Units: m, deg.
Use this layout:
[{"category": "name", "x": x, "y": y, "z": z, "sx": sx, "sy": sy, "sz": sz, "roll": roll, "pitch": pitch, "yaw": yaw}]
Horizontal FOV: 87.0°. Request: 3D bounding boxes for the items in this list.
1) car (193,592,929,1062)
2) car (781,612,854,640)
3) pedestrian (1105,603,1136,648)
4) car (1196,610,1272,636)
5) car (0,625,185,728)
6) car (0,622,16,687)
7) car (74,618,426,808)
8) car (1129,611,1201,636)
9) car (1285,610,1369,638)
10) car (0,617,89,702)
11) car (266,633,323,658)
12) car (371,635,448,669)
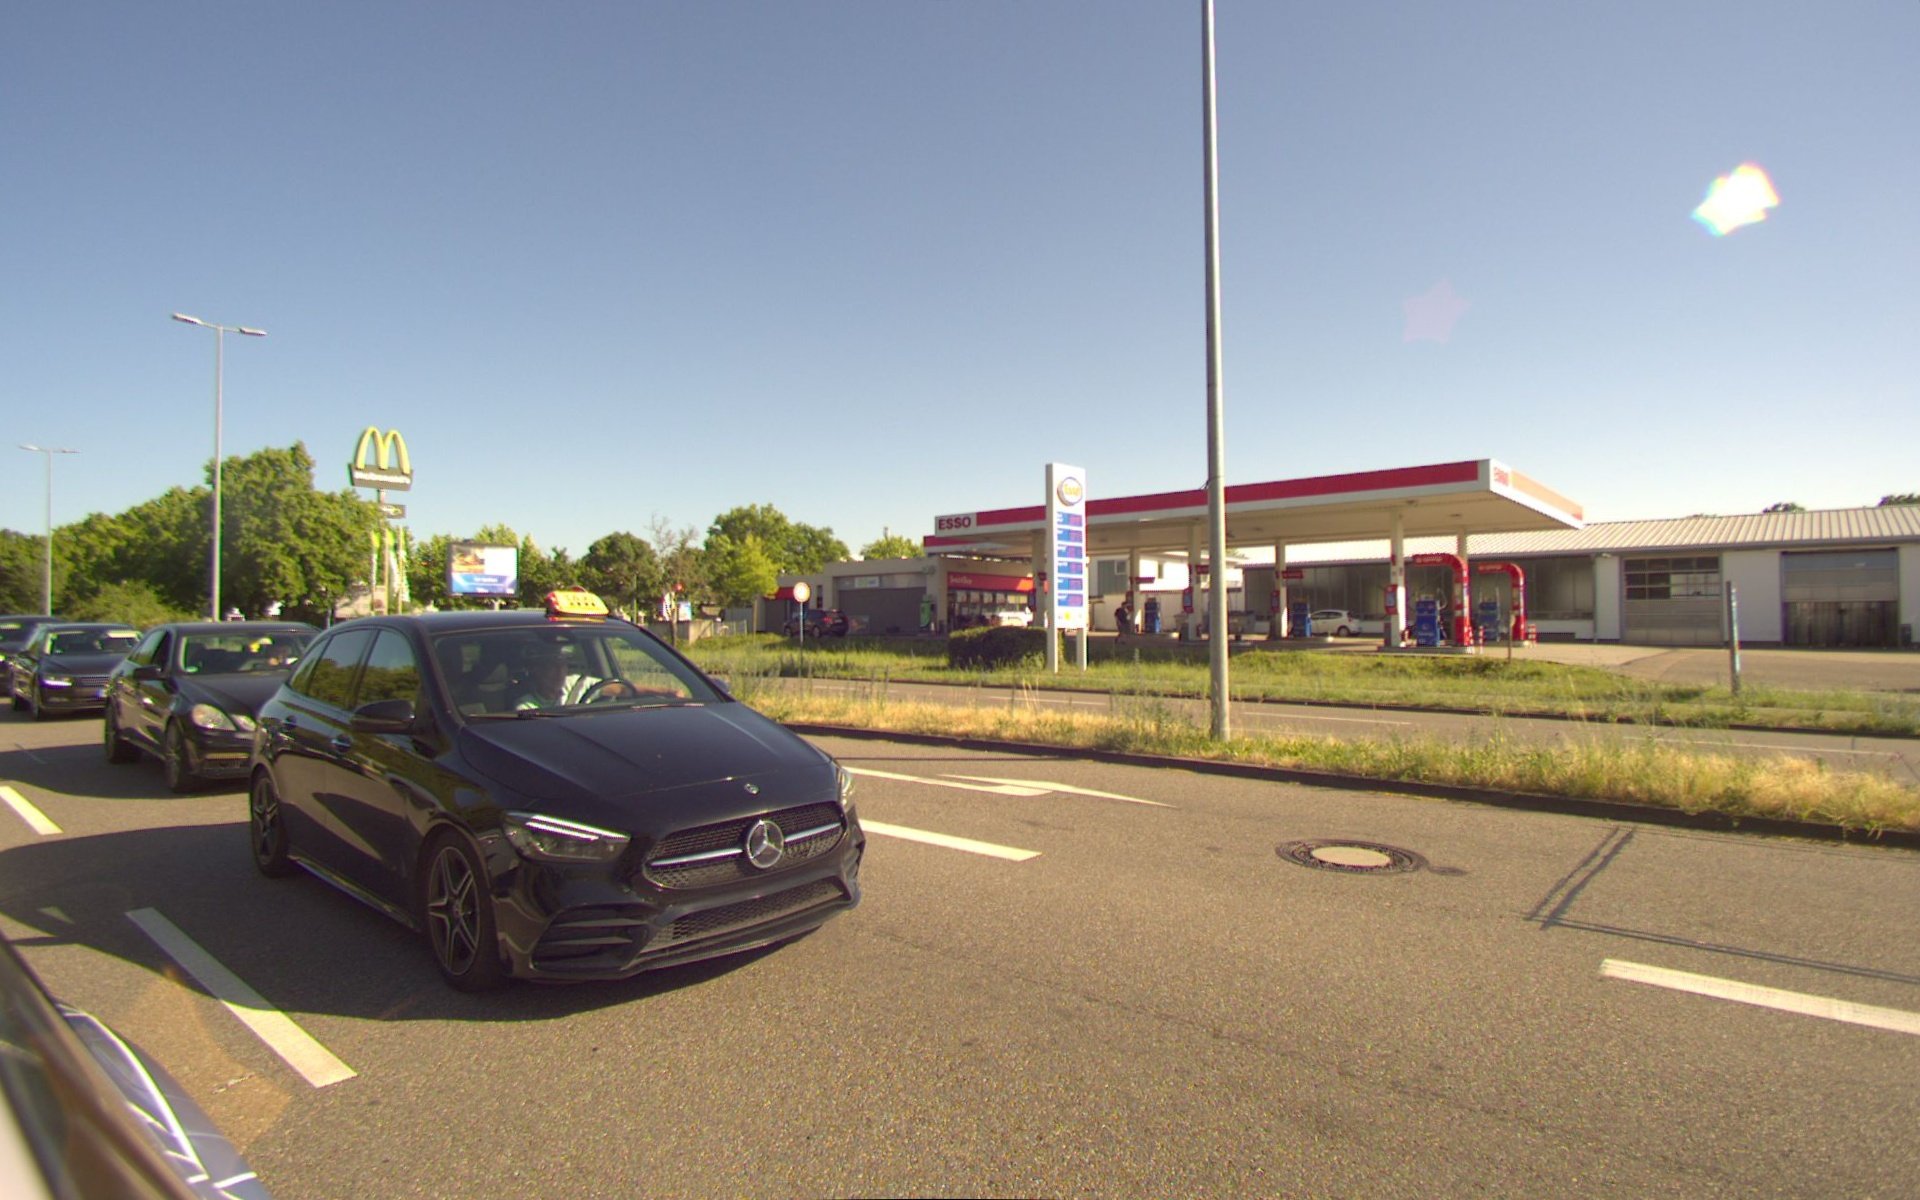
[{"category": "car", "x": -2.379, "y": 0.742, "z": 5.335, "sx": 4.400, "sy": 1.502, "sz": 1.741, "roll": -1, "pitch": 0, "yaw": 40}, {"category": "car", "x": -7.775, "y": 1.414, "z": 54.951, "sx": 3.975, "sy": 1.420, "sz": 1.661, "roll": -1, "pitch": -4, "yaw": 40}, {"category": "pedestrian", "x": 6.366, "y": 0.999, "z": 40.182, "sx": 0.903, "sy": 1.763, "sz": 0.780, "roll": -1, "pitch": 0, "yaw": 42}, {"category": "car", "x": 15.837, "y": 1.356, "z": 58.583, "sx": 3.975, "sy": 1.420, "sz": 1.661, "roll": -1, "pitch": -4, "yaw": 40}, {"category": "car", "x": -14.448, "y": 1.159, "z": 16.694, "sx": 4.284, "sy": 1.438, "sz": 1.775, "roll": -1, "pitch": 0, "yaw": 40}, {"category": "car", "x": -25.220, "y": 1.375, "z": 25.541, "sx": 3.774, "sy": 1.567, "sz": 1.615, "roll": -1, "pitch": -1, "yaw": 40}, {"category": "car", "x": -7.257, "y": 0.935, "z": 10.162, "sx": 4.400, "sy": 1.449, "sz": 1.845, "roll": -1, "pitch": 0, "yaw": 40}, {"category": "car", "x": 12.439, "y": 1.400, "z": 61.382, "sx": 3.975, "sy": 1.420, "sz": 1.661, "roll": -1, "pitch": -4, "yaw": 40}, {"category": "car", "x": 19.839, "y": 1.304, "z": 54.842, "sx": 3.975, "sy": 1.420, "sz": 1.661, "roll": -1, "pitch": -4, "yaw": 40}, {"category": "car", "x": -19.935, "y": 1.209, "z": 21.443, "sx": 3.876, "sy": 1.629, "sz": 1.653, "roll": -2, "pitch": -1, "yaw": 40}, {"category": "car", "x": -39.764, "y": 2.724, "z": 60.438, "sx": 3.975, "sy": 1.420, "sz": 1.741, "roll": -1, "pitch": -4, "yaw": 40}, {"category": "car", "x": -25.240, "y": 2.376, "z": 46.378, "sx": 3.975, "sy": 1.420, "sz": 1.741, "roll": -1, "pitch": -4, "yaw": 40}]
